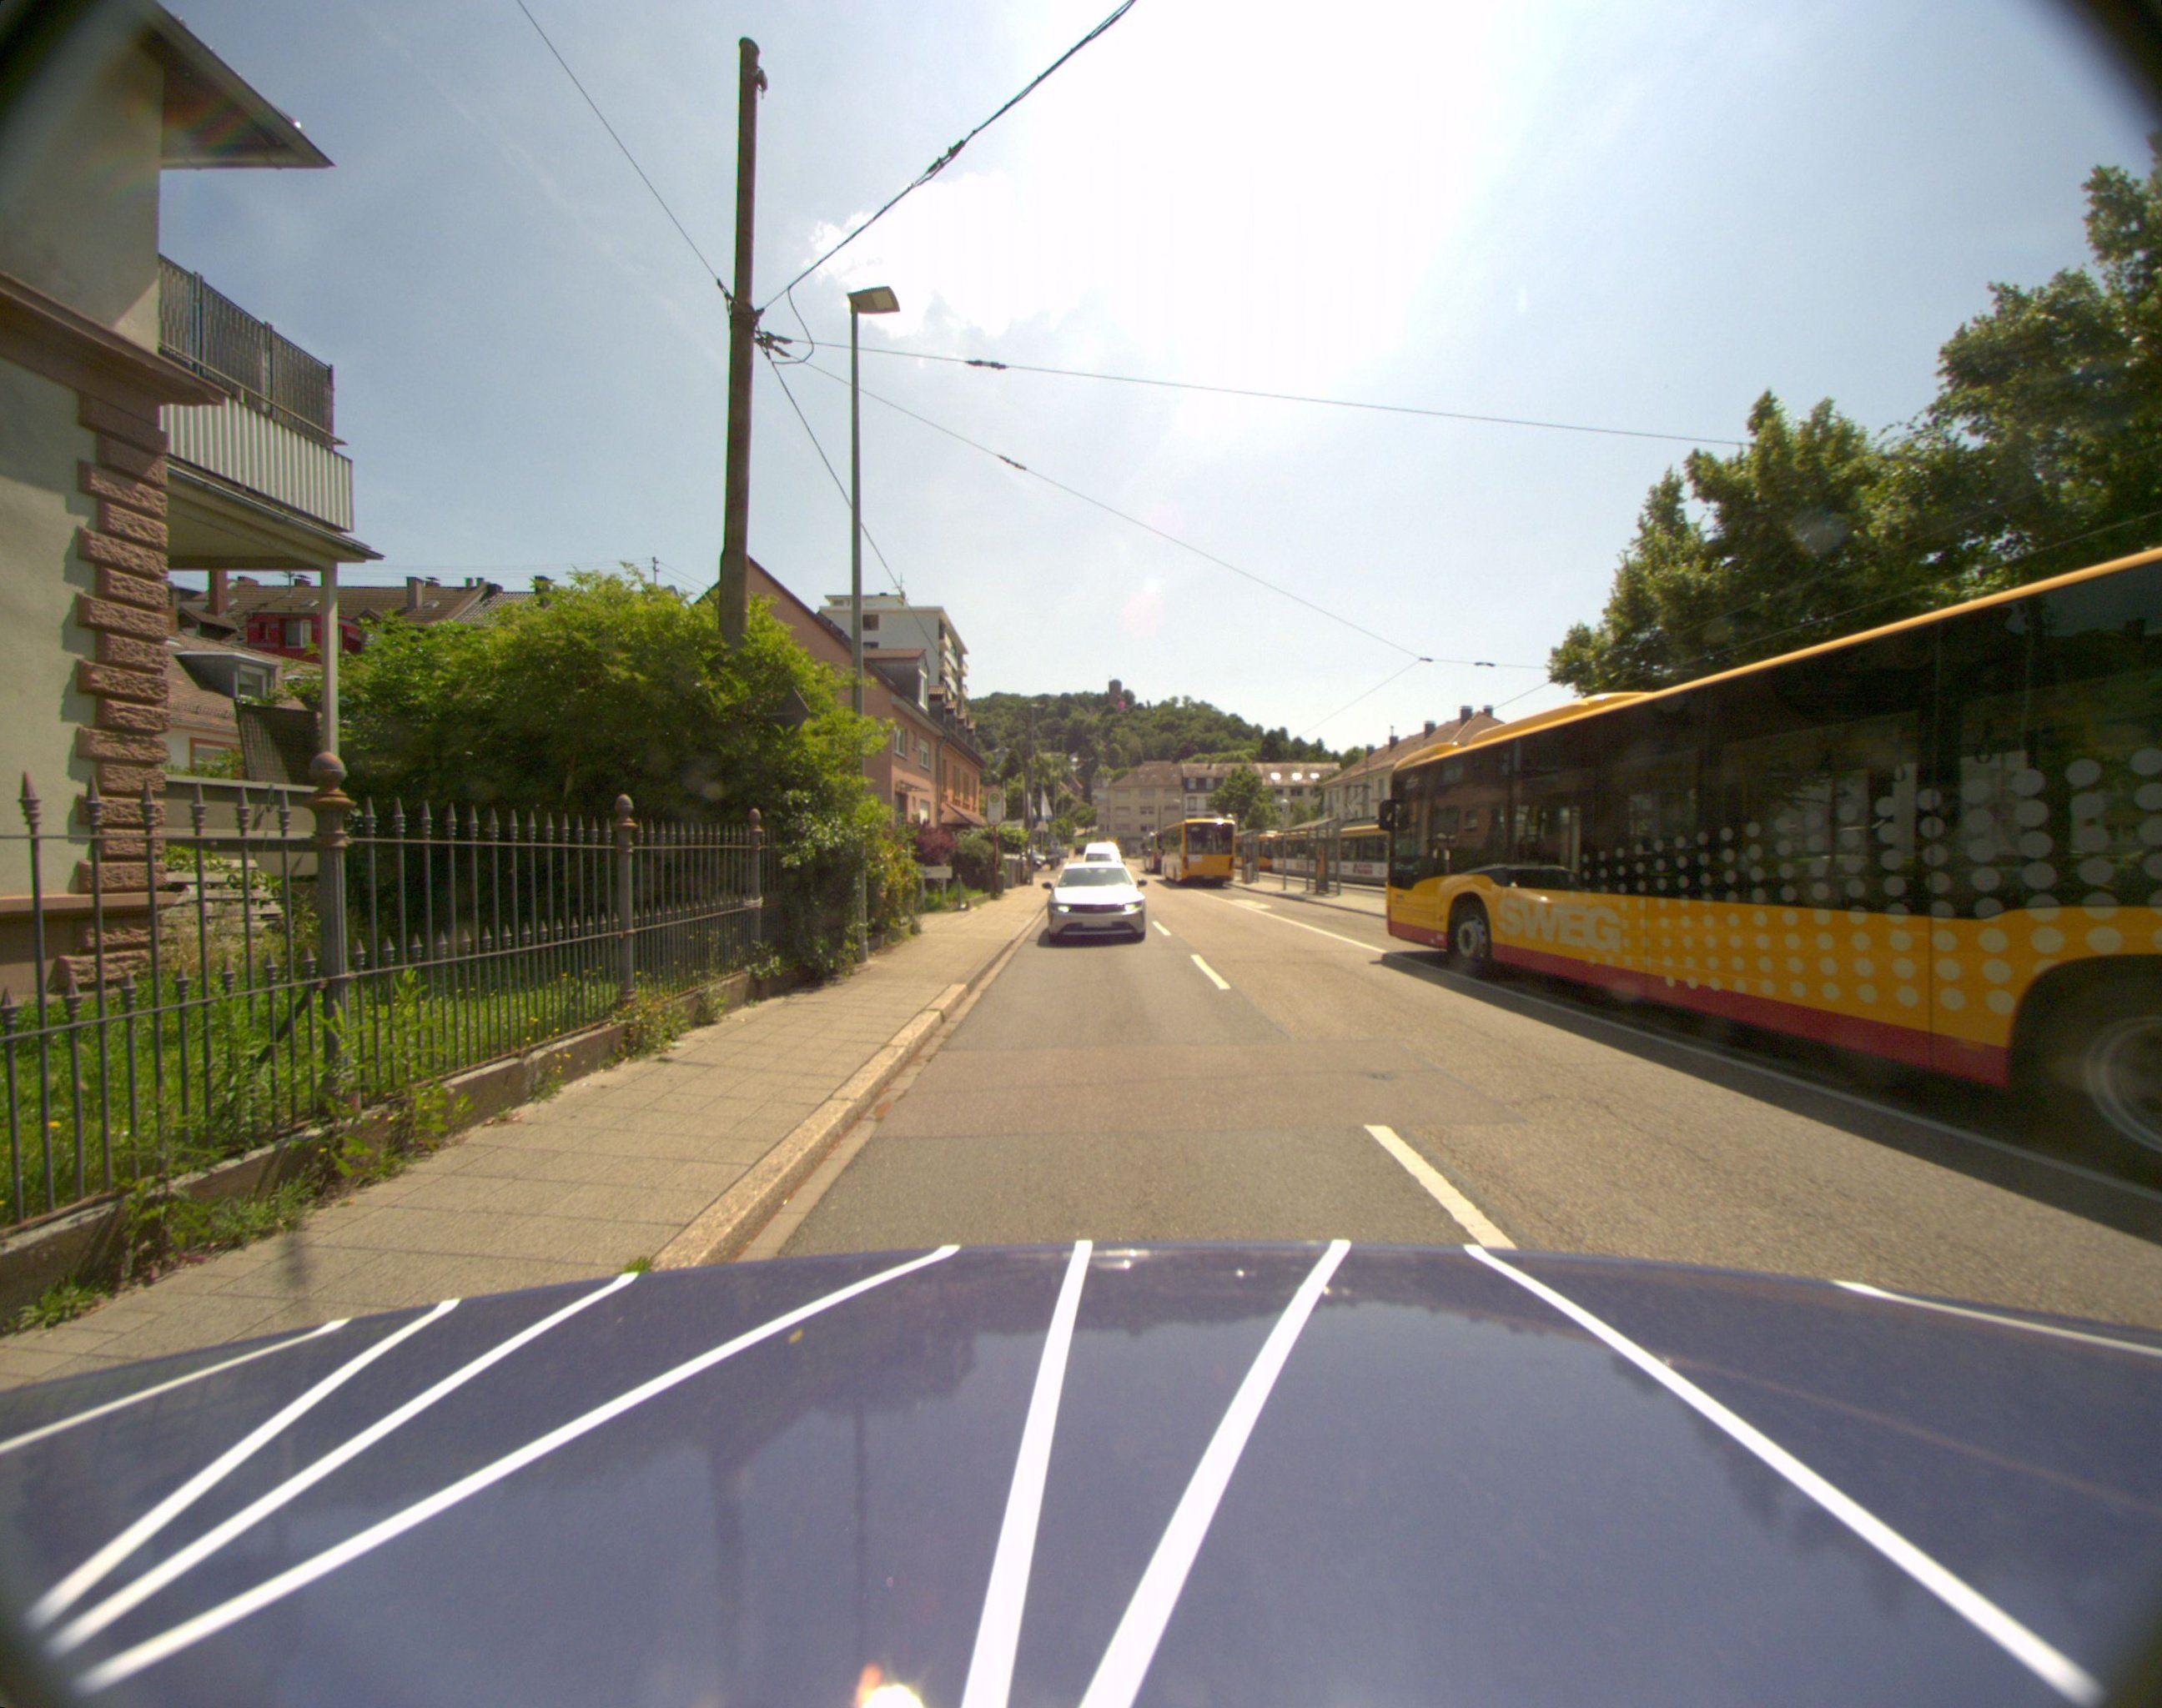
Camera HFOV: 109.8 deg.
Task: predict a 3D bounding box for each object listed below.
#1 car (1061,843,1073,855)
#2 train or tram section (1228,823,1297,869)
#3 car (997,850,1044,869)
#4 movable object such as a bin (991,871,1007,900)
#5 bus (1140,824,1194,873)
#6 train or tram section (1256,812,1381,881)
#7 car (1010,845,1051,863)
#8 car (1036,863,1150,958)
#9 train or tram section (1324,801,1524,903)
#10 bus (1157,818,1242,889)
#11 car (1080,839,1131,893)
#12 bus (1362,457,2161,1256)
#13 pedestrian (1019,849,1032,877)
[{"bbox_3d":[-2.348,-0.859,125.776,1.708,1.840,4.710,-2,2,-2],"label":"car"},{"bbox_3d":[15.242,-0.710,65.168,2.971,3.475,12.655,-2,1,1],"label":"train or tram section"},{"bbox_3d":[-5.273,0.482,65.881,3.890,1.534,1.840,-1,2,-12],"label":"car"},{"bbox_3d":[-2.728,1.050,25.293,0.407,0.902,0.729,3,2,-2],"label":"movable object such as a bin"},{"bbox_3d":[6.715,-0.389,61.241,2.915,3.407,12.039,-2,0,0],"label":"bus"},{"bbox_3d":[15.034,-0.534,50.281,2.971,3.622,17.349,-2,1,1],"label":"train or tram section"},{"bbox_3d":[-5.383,-0.003,80.637,4.277,1.780,1.826,-1,3,40],"label":"car"},{"bbox_3d":[0.365,0.947,14.513,1.818,1.371,4.392,-1,1,5],"label":"car"},{"bbox_3d":[14.808,-0.165,34.865,2.971,3.622,13.992,-2,1,1],"label":"train or tram section"},{"bbox_3d":[6.181,-0.203,41.848,2.905,3.229,12.193,-2,2,1],"label":"bus"},{"bbox_3d":[1.098,0.486,36.546,1.999,2.259,5.442,-2,2,-2],"label":"car"},{"bbox_3d":[5.835,-0.060,5.752,2.914,3.229,12.116,-2,1,0],"label":"bus"},{"bbox_3d":[-3.262,0.545,44.424,0.707,1.631,0.659,1,0,-8],"label":"pedestrian"}]
